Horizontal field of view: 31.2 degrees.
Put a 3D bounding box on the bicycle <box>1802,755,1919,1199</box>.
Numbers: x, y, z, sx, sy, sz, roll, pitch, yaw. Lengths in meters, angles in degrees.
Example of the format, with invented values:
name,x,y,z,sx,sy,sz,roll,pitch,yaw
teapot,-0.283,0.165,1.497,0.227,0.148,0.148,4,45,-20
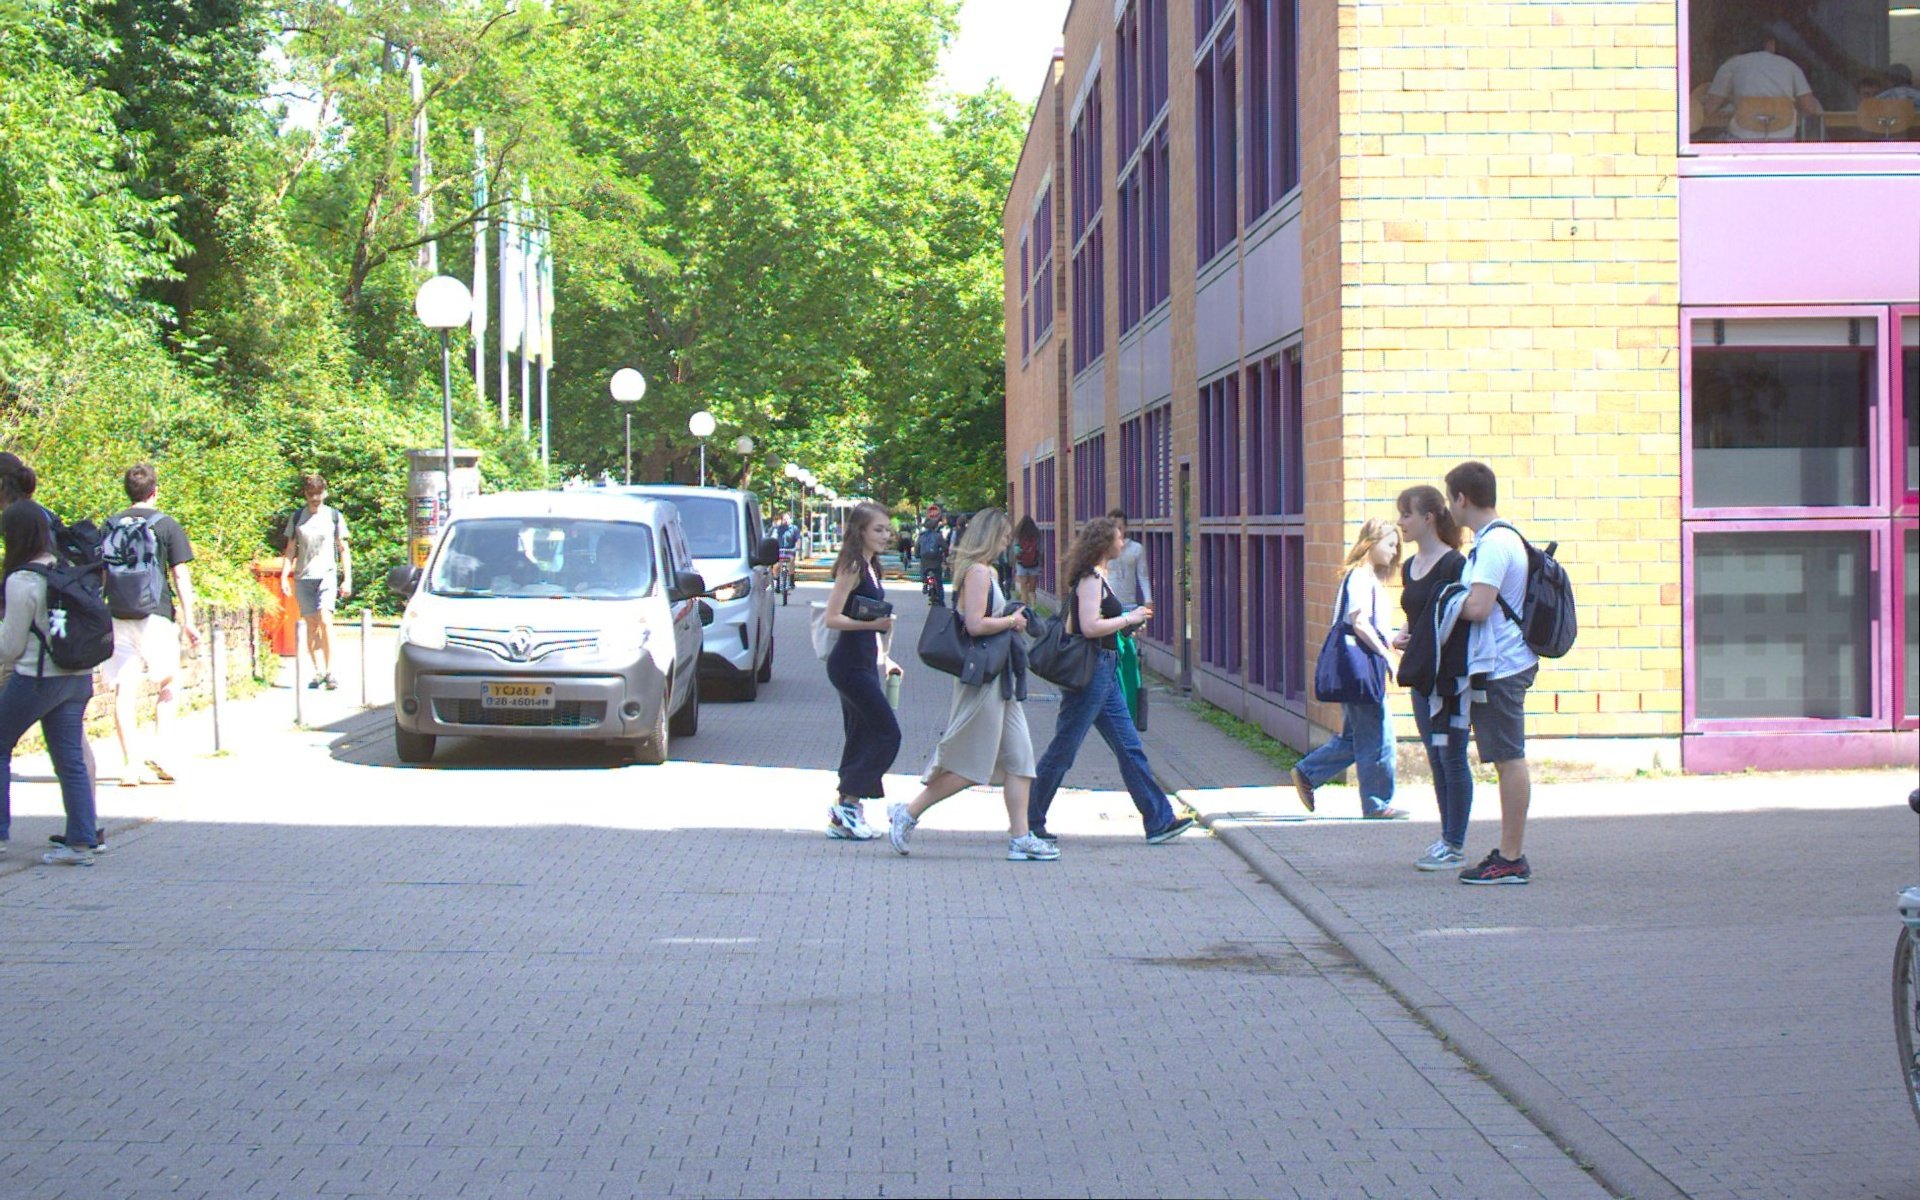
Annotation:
name,x,y,z,sx,sy,sz,roll,pitch,yaw
bicycle,2.177,0.850,6.952,0.450,0.958,1.740,-2,1,-2

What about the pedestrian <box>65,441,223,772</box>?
name,x,y,z,sx,sy,sz,roll,pitch,yaw
pedestrian,-4.647,0.035,19.617,0.682,1.838,0.783,1,0,-1

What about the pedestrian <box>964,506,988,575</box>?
name,x,y,z,sx,sy,sz,roll,pitch,yaw
pedestrian,0.458,-1.679,97.299,0.653,1.916,0.817,-1,0,1

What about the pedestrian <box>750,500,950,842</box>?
name,x,y,z,sx,sy,sz,roll,pitch,yaw
pedestrian,-0.545,0.345,17.253,0.886,1.666,0.643,-1,2,7

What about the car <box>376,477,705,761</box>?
name,x,y,z,sx,sy,sz,roll,pitch,yaw
car,-2.777,0.067,23.651,1.790,1.755,4.482,0,1,-1

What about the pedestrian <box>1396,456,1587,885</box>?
name,x,y,z,sx,sy,sz,roll,pitch,yaw
pedestrian,2.261,0.296,14.686,0.767,1.788,0.588,-1,0,7

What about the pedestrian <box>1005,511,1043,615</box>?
name,x,y,z,sx,sy,sz,roll,pitch,yaw
pedestrian,1.030,-0.601,55.637,0.586,1.667,0.699,-1,0,1

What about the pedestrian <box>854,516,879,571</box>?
name,x,y,z,sx,sy,sz,roll,pitch,yaw
pedestrian,-2.851,-1.716,104.879,0.725,1.667,0.748,-1,0,1

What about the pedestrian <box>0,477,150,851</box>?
name,x,y,z,sx,sy,sz,roll,pitch,yaw
pedestrian,-4.081,0.274,15.303,0.780,1.615,0.685,1,0,-3

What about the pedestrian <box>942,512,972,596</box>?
name,x,y,z,sx,sy,sz,roll,pitch,yaw
pedestrian,-0.064,-0.919,69.275,0.586,1.667,0.817,-1,0,1

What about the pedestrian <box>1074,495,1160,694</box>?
name,x,y,z,sx,sy,sz,roll,pitch,yaw
pedestrian,1.402,-0.053,30.820,0.682,1.741,0.783,1,0,-1

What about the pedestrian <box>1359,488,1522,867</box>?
name,x,y,z,sx,sy,sz,roll,pitch,yaw
pedestrian,2.155,0.343,15.482,0.697,1.667,0.588,-1,0,7

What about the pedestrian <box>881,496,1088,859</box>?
name,x,y,z,sx,sy,sz,roll,pitch,yaw
pedestrian,0.124,0.355,16.264,0.886,1.667,0.559,1,0,7

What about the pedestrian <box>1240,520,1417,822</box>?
name,x,y,z,sx,sy,sz,roll,pitch,yaw
pedestrian,1.931,0.359,18.003,0.886,1.537,0.743,-1,1,7

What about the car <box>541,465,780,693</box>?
name,x,y,z,sx,sy,sz,roll,pitch,yaw
car,-2.748,-0.243,32.581,1.883,1.967,5.215,1,1,-1

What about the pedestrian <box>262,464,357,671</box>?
name,x,y,z,sx,sy,sz,roll,pitch,yaw
pedestrian,-5.886,-0.296,31.116,0.682,1.838,0.783,1,0,-1

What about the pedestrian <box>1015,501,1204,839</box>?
name,x,y,z,sx,sy,sz,roll,pitch,yaw
pedestrian,0.745,0.344,17.277,0.929,1.667,0.588,0,0,1

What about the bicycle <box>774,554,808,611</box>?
name,x,y,z,sx,sy,sz,roll,pitch,yaw
bicycle,-3.263,-0.346,66.345,0.587,1.080,1.814,1,1,-4

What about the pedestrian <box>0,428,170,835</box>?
name,x,y,z,sx,sy,sz,roll,pitch,yaw
pedestrian,-4.170,0.140,15.989,0.825,1.838,0.685,1,0,-3

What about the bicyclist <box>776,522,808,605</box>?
name,x,y,z,sx,sy,sz,roll,pitch,yaw
bicyclist,-3.244,-0.708,66.307,0.587,1.567,0.829,1,1,-4

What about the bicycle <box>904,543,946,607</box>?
name,x,y,z,sx,sy,sz,roll,pitch,yaw
bicycle,-0.609,-0.442,59.696,0.587,1.080,1.908,1,1,-4

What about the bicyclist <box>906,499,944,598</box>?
name,x,y,z,sx,sy,sz,roll,pitch,yaw
bicyclist,-0.605,-0.899,59.706,0.587,1.710,0.665,1,1,-4
